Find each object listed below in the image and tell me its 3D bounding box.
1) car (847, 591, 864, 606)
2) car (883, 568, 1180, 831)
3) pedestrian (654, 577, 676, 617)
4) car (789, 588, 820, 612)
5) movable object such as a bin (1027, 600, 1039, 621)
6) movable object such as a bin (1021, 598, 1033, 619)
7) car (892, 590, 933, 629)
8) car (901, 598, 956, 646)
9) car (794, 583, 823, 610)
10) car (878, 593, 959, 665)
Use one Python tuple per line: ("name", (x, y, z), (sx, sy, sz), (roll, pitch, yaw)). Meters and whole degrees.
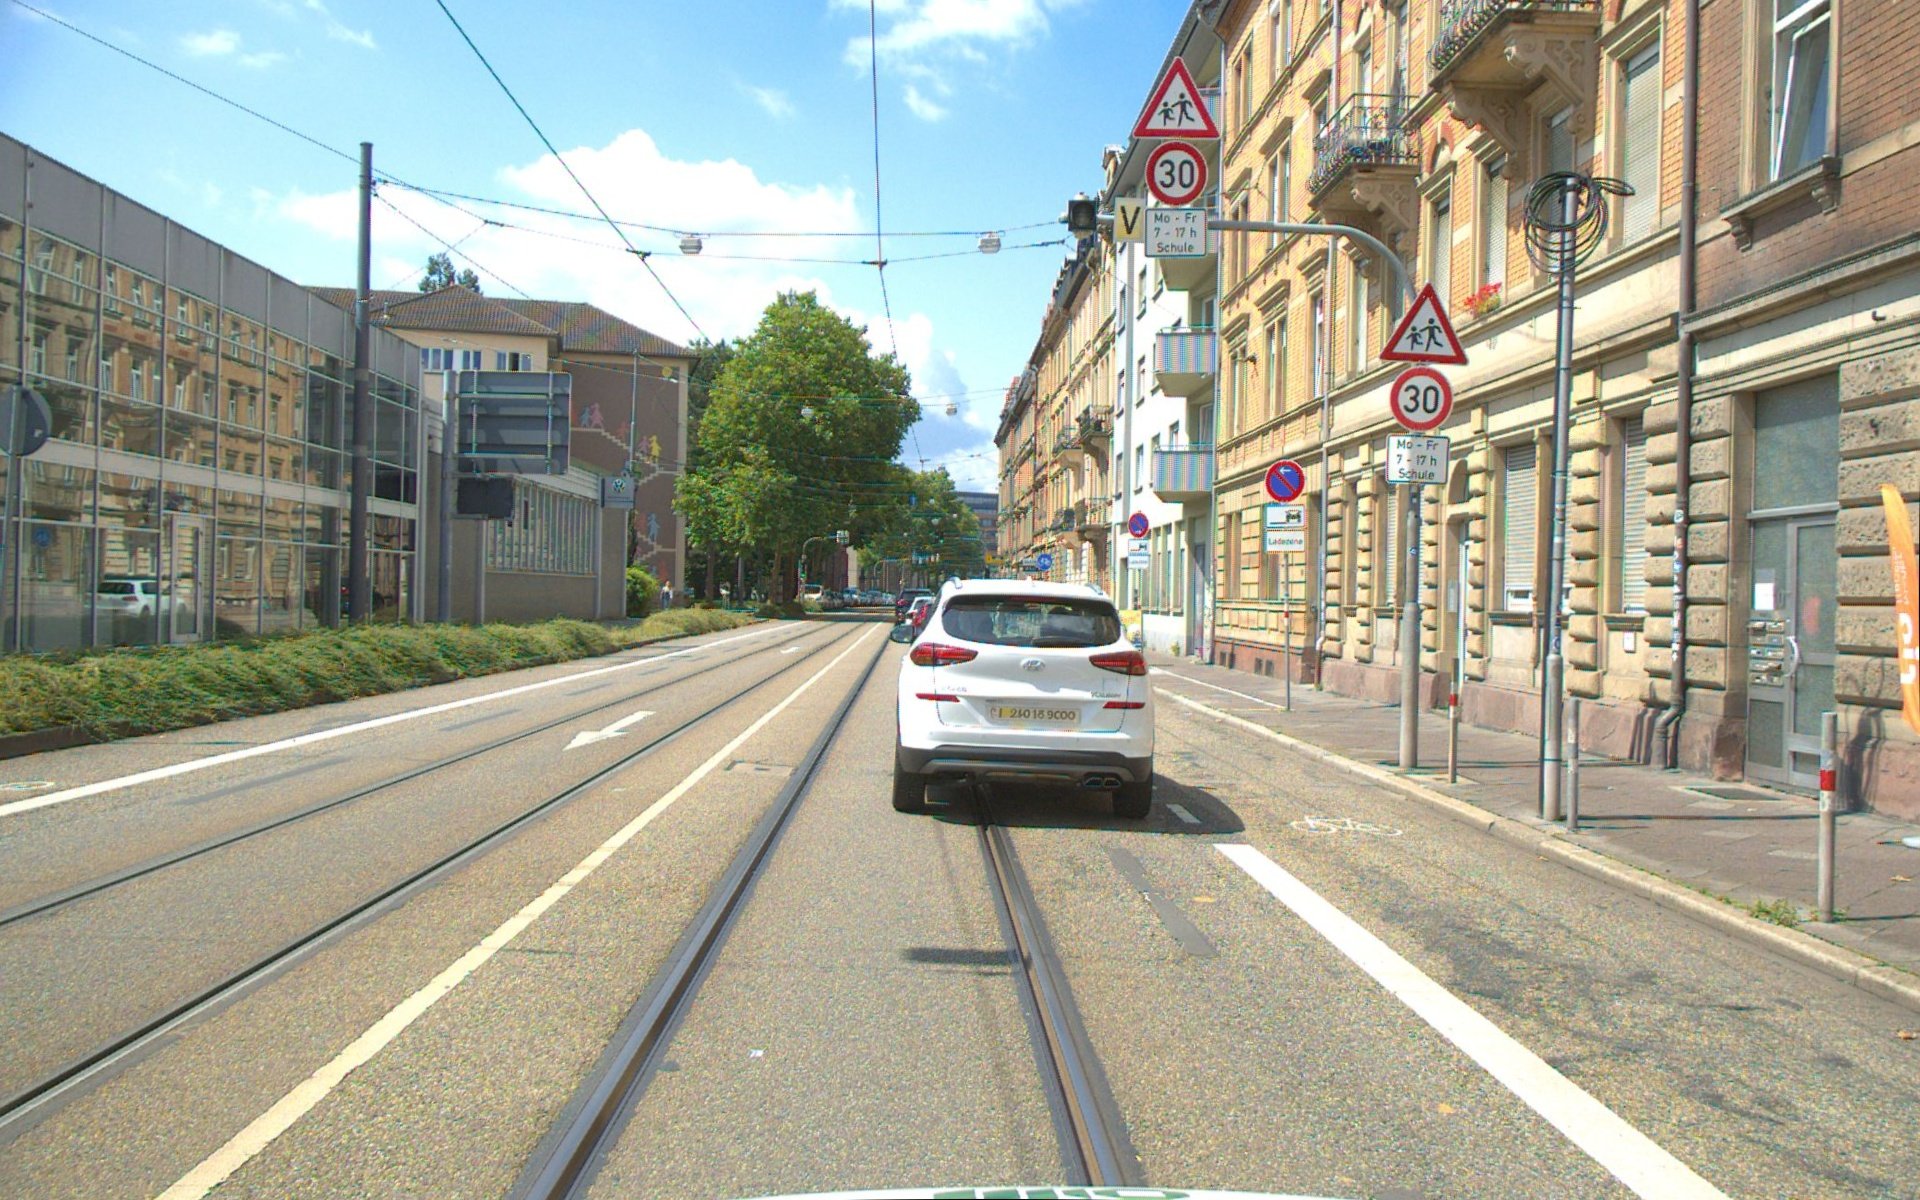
("car", (-12.093, -0.144, 190.795), (1.911, 1.660, 3.997), (2, 0, -4))
("car", (0.381, 0.651, 12.950), (1.816, 1.662, 4.177), (2, 0, -4))
("pedestrian", (-13.983, -0.153, 78.332), (0.862, 1.898, 1.080), (0, 0, -1))
("car", (-11.333, 0.019, 120.541), (1.911, 1.660, 4.574), (2, 0, -2))
("movable object such as a bin", (4.041, 0.574, 91.210), (0.600, 1.163, 0.638), (2, 0, -2))
("movable object such as a bin", (3.747, 0.472, 92.632), (0.600, 1.163, 0.638), (2, 0, -2))
("car", (-2.173, 0.406, 75.460), (1.778, 1.691, 4.084), (1, 0, -2))
("car", (-1.084, 0.709, 56.466), (1.778, 1.551, 3.954), (1, 0, -2))
("car", (-11.560, -0.263, 126.536), (1.911, 1.928, 4.564), (2, 0, -2))
("car", (-0.939, 0.633, 38.526), (1.777, 1.551, 4.084), (1, 0, -1))
